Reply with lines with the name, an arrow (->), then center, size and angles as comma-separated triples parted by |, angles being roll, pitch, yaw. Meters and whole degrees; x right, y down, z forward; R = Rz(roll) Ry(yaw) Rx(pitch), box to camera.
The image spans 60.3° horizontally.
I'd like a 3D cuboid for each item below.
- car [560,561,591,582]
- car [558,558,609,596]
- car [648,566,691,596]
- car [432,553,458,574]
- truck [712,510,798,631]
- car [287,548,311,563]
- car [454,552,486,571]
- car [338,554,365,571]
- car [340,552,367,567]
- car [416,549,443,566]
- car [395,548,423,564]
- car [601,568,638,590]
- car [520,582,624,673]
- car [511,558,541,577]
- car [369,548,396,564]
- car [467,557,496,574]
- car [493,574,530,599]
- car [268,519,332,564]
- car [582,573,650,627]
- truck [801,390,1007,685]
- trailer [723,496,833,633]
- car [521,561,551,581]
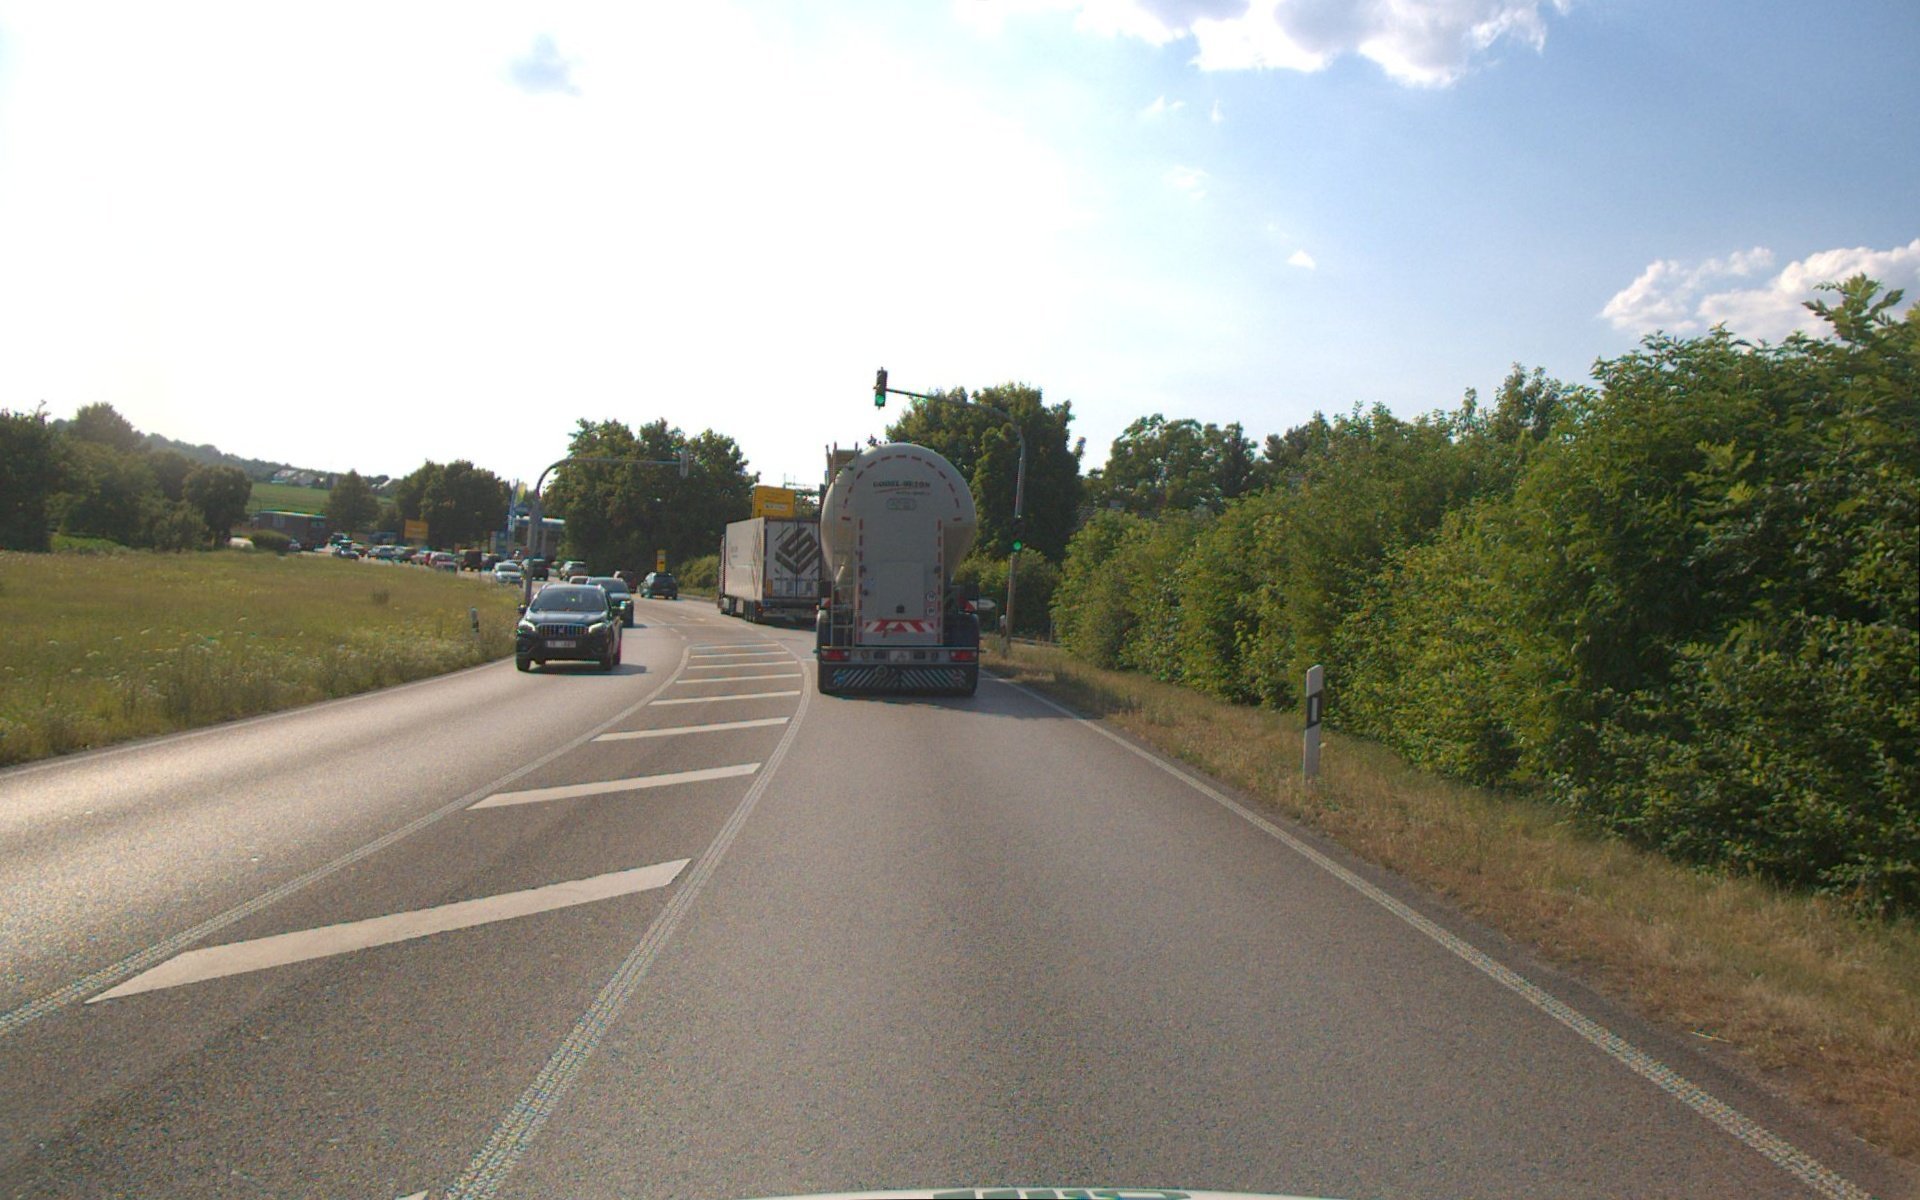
car -> -32.952, -2.429, 141.773 | 1.818, 1.685, 3.968 | 3, -1, -25
car -> -18.235, -1.089, 80.087 | 1.815, 1.685, 3.975 | 2, -1, -21
car -> -18.009, -1.168, 102.363 | 1.964, 1.685, 3.977 | 2, -1, -20
car -> -43.930, -3.119, 141.033 | 1.855, 1.627, 3.975 | 2, 0, -21
truck -> -9.134, -1.218, 73.099 | 2.912, 4.972, 6.407 | 2, -1, -14
car -> -74.258, -4.979, 185.833 | 1.863, 1.627, 3.957 | 2, 0, -32
car -> -47.220, -3.713, 159.386 | 1.864, 1.627, 3.956 | 2, 0, -32
car -> -63.215, -3.911, 171.755 | 1.862, 1.627, 3.959 | 2, 0, -31
car -> -68.953, -4.623, 188.010 | 1.868, 1.627, 3.947 | 2, 0, -37
car -> -55.136, -4.430, 171.970 | 1.862, 1.627, 3.960 | 2, 0, -30
car -> -58.921, -4.717, 176.828 | 1.866, 1.627, 3.952 | 2, 0, -35
car -> -24.280, -1.473, 117.942 | 1.662, 1.493, 3.968 | 3, -1, -25
car -> -7.406, 0.522, 31.835 | 1.664, 1.580, 4.142 | 2, -1, -10
car -> -38.788, -2.911, 147.817 | 2.057, 1.627, 3.973 | 2, 0, -23
car -> -64.063, -4.864, 183.493 | 1.864, 1.627, 3.955 | 2, 0, -33
car -> -48.181, -3.508, 166.507 | 1.863, 1.627, 3.957 | 2, 0, -32
car -> -31.395, -0.948, 115.616 | 1.857, 1.627, 3.970 | 2, 0, -24
car -> -80.558, -7.168, 201.735 | 3.517, 5.147, 13.059 | 2, 0, -39
car -> -12.276, -0.024, 59.238 | 1.956, 1.755, 4.420 | 2, 1, -7
truck -> -1.319, -0.840, 30.293 | 2.918, 4.248, 11.649 | 2, -1, -5
trailer -> -7.460, -1.275, 66.244 | 2.914, 4.967, 10.250 | 2, -1, -14
car -> -35.828, -2.469, 139.669 | 1.856, 1.627, 3.973 | 2, 0, -22
